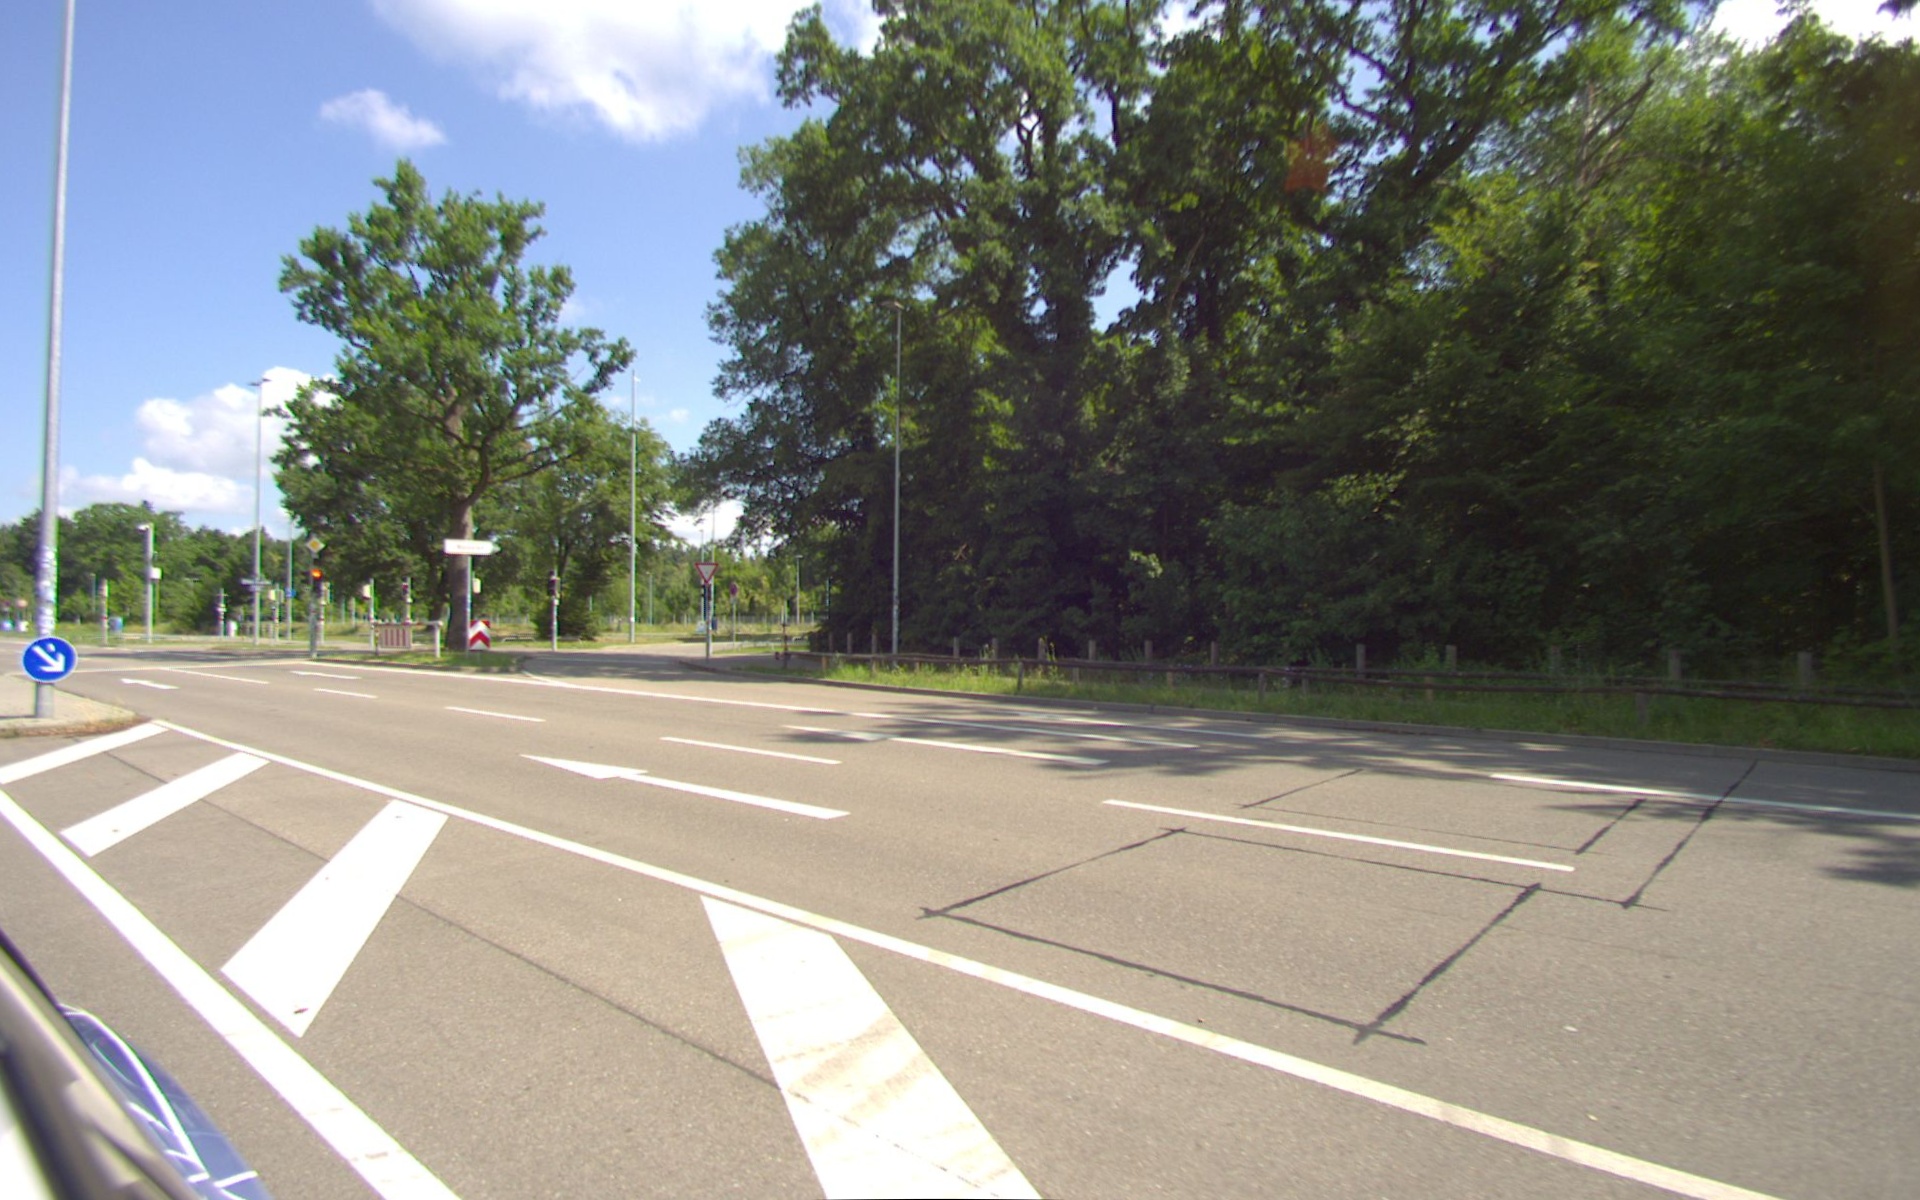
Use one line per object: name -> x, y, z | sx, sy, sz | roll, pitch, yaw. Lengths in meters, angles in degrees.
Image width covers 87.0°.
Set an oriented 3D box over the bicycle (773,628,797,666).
bicycle -> -5.755, 1.532, 33.288 | 0.414, 1.182, 1.233 | 0, -1, -28
